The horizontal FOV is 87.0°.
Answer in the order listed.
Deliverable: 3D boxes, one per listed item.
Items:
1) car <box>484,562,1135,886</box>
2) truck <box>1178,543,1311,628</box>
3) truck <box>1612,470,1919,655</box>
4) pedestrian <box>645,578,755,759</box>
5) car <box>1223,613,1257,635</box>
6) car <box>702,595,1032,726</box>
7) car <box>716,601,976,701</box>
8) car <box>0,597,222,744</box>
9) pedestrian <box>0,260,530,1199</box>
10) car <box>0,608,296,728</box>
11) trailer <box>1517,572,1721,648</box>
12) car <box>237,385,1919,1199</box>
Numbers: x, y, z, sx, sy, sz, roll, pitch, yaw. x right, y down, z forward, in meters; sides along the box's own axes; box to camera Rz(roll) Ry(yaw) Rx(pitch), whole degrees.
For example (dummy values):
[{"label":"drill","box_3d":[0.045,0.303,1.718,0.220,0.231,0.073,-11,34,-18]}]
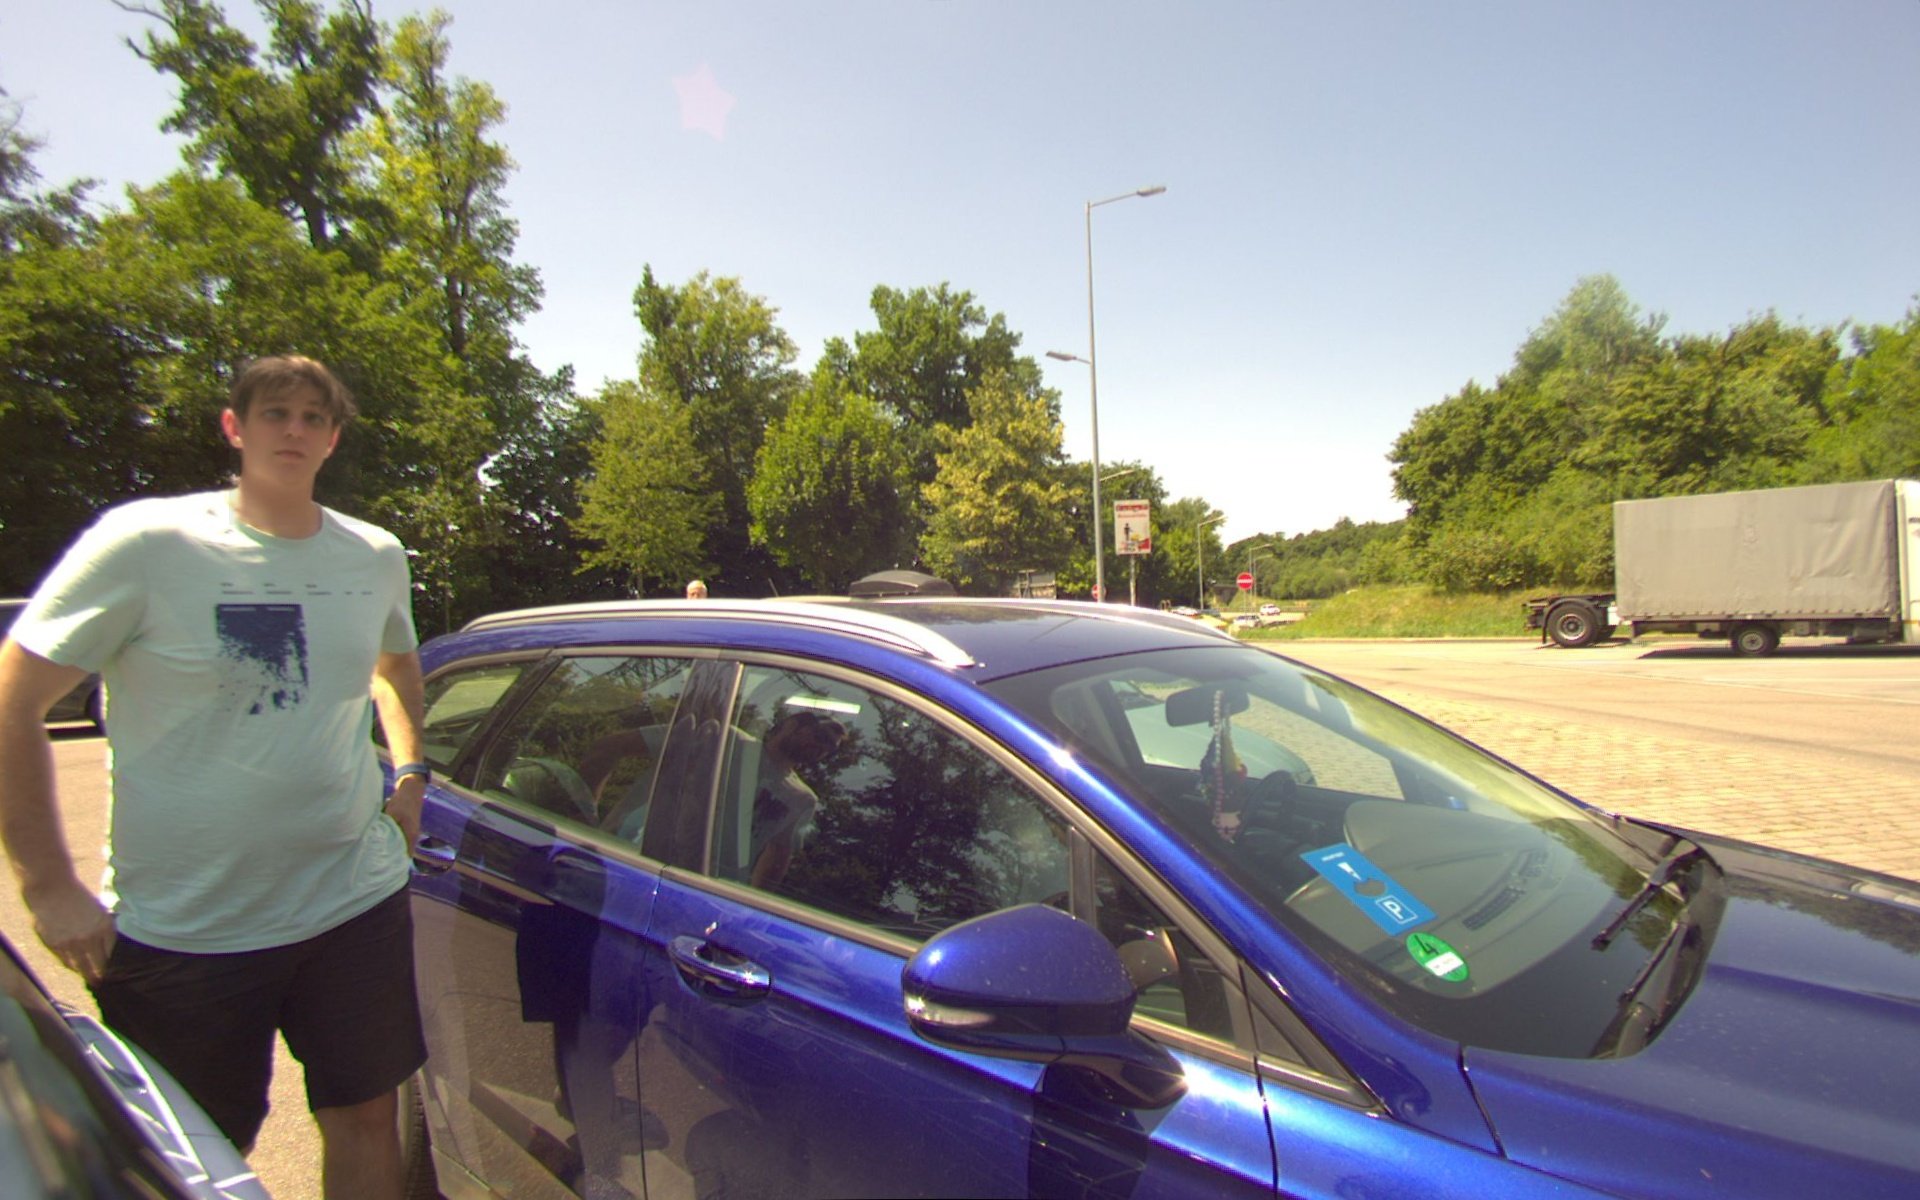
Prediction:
[{"label":"car","box_3d":[-1.253,0.633,6.731,4.466,1.476,1.756,-3,-1,40]},{"label":"truck","box_3d":[13.312,-0.612,47.435,5.782,3.720,1.987,-2,-1,20]},{"label":"truck","box_3d":[16.726,-0.639,18.844,7.348,3.152,2.339,-3,-2,41]},{"label":"pedestrian","box_3d":[-2.458,0.621,9.560,0.759,1.614,0.663,-3,-1,41]},{"label":"car","box_3d":[21.118,1.798,76.252,1.986,1.530,3.971,-2,-1,21]},{"label":"car","box_3d":[-1.372,0.759,13.542,4.466,1.476,1.756,-3,-1,40]},{"label":"car","box_3d":[-2.025,0.831,17.095,4.466,1.476,1.756,-3,-1,40]},{"label":"car","box_3d":[-11.695,0.849,12.566,3.910,1.701,1.782,-1,-1,-43]},{"label":"pedestrian","box_3d":[-1.216,0.428,1.739,0.578,1.722,0.678,-3,-2,41]},{"label":"car","box_3d":[-12.724,0.974,15.617,3.910,1.598,1.782,-1,-1,-43]},{"label":"trailer","box_3d":[15.767,0.278,24.330,3.900,1.674,1.456,-2,-1,41]},{"label":"car","box_3d":[0.227,0.631,2.110,4.466,1.476,1.756,-3,-1,40]}]
